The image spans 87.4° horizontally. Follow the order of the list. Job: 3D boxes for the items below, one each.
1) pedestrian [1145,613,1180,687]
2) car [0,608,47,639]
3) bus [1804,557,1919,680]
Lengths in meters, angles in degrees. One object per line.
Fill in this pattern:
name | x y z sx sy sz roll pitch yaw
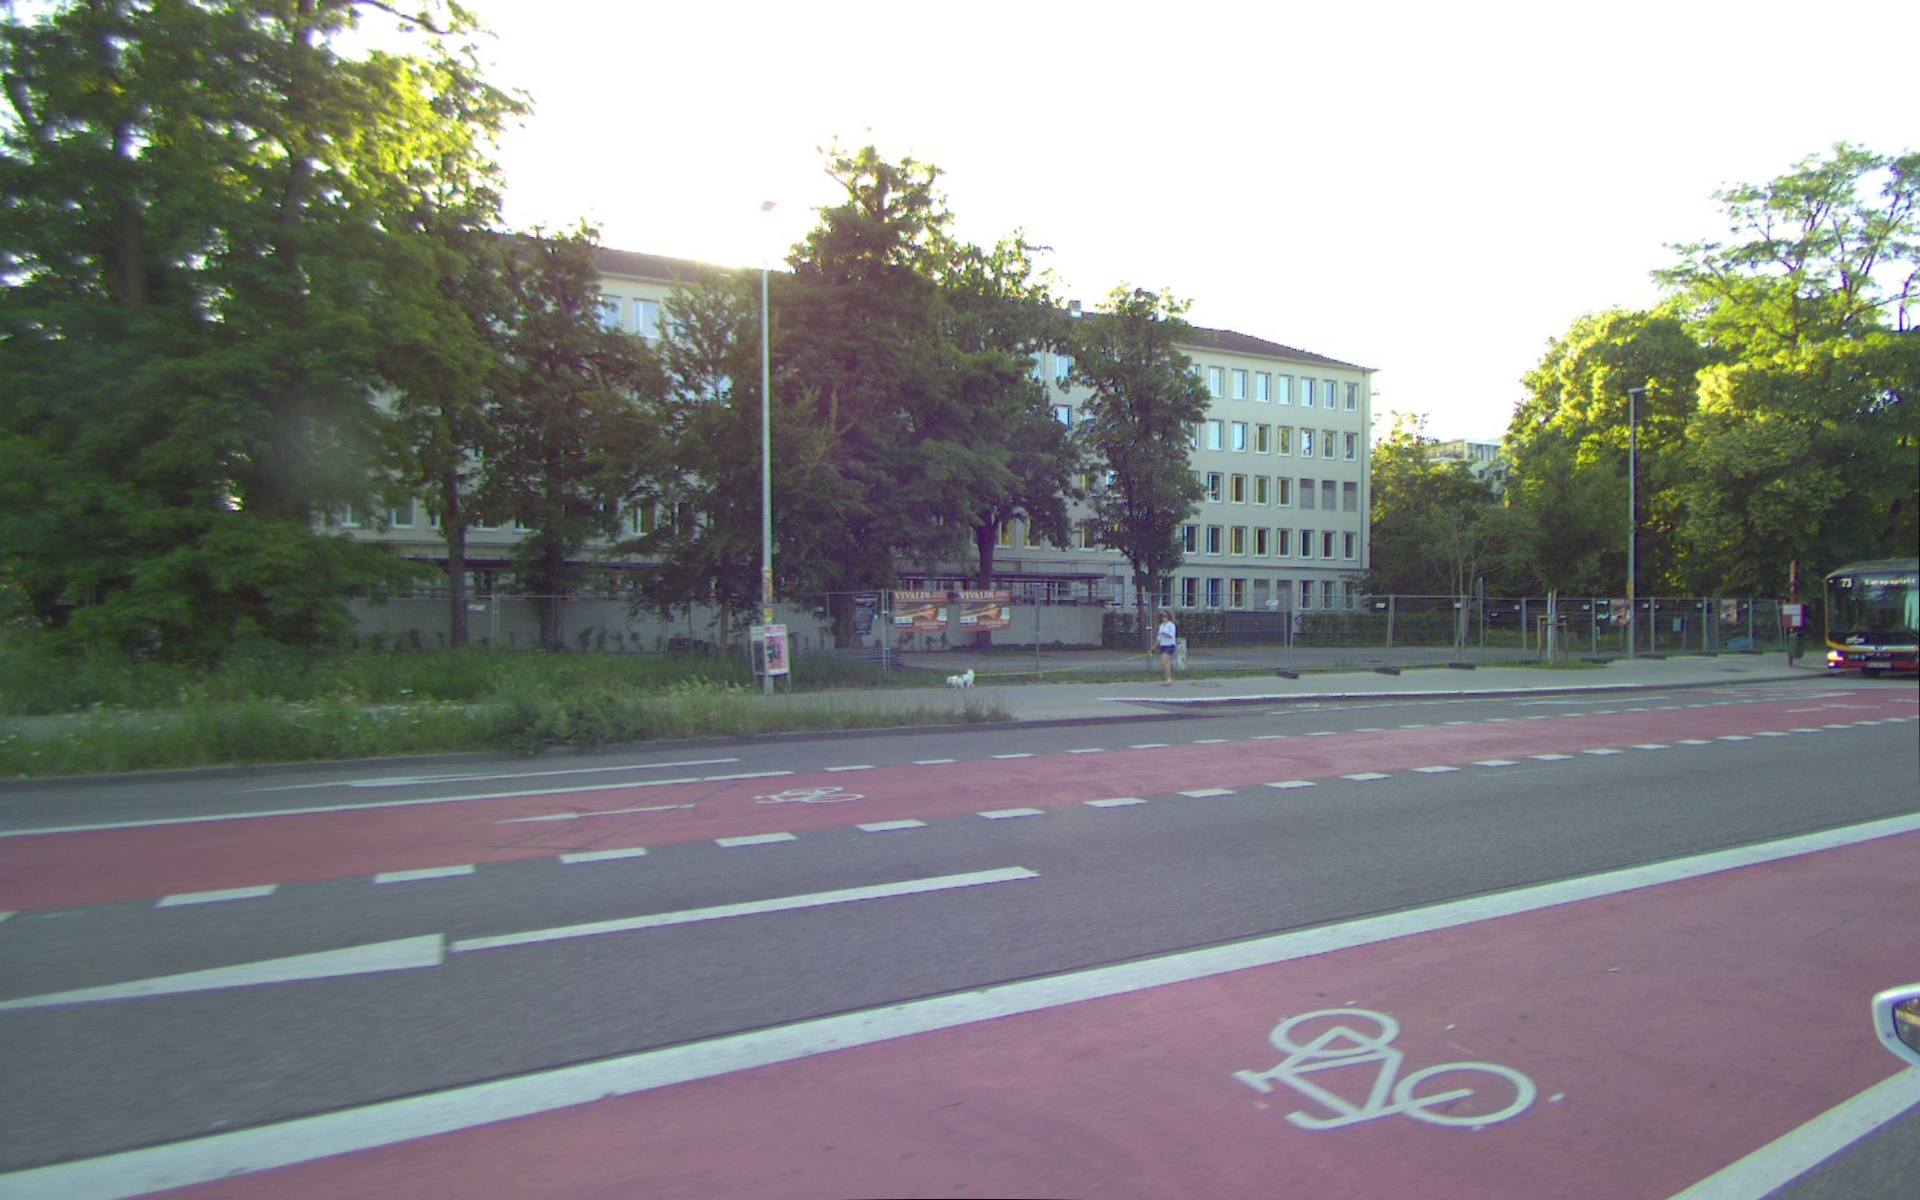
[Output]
pedestrian | 4.394 1.071 21.785 0.565 1.554 0.448 1 1 -34
car | -49.862 1.198 52.203 2.205 1.560 4.237 1 -1 -22
bus | 28.422 0.546 29.470 8.495 3.239 2.828 1 -1 -29
